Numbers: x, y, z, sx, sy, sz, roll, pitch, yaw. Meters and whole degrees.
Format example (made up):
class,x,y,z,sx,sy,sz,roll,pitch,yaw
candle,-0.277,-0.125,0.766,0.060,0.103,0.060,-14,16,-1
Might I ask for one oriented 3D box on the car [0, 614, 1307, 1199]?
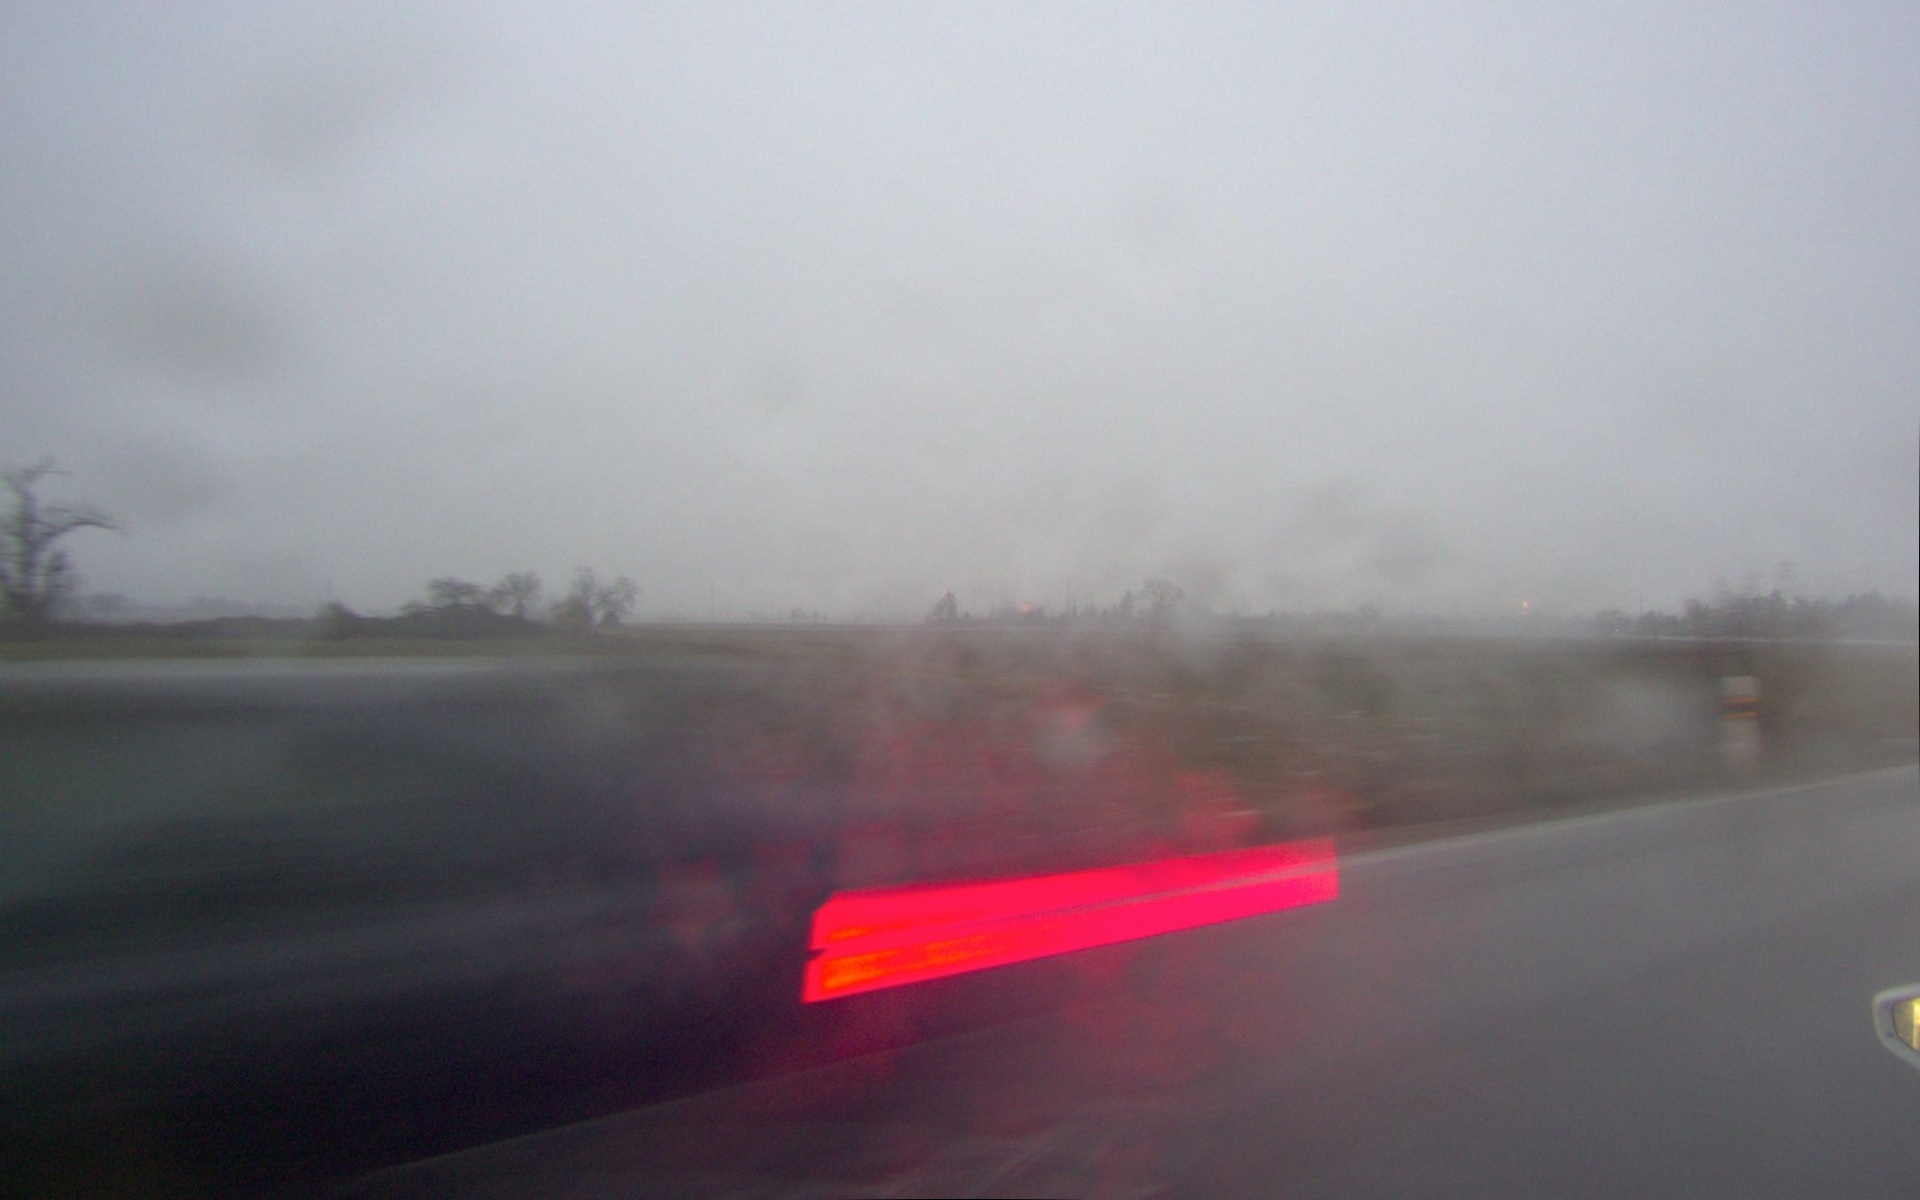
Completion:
class,x,y,z,sx,sy,sz,roll,pitch,yaw
car,-1.451,0.764,2.425,4.346,1.390,1.984,2,-1,-30
